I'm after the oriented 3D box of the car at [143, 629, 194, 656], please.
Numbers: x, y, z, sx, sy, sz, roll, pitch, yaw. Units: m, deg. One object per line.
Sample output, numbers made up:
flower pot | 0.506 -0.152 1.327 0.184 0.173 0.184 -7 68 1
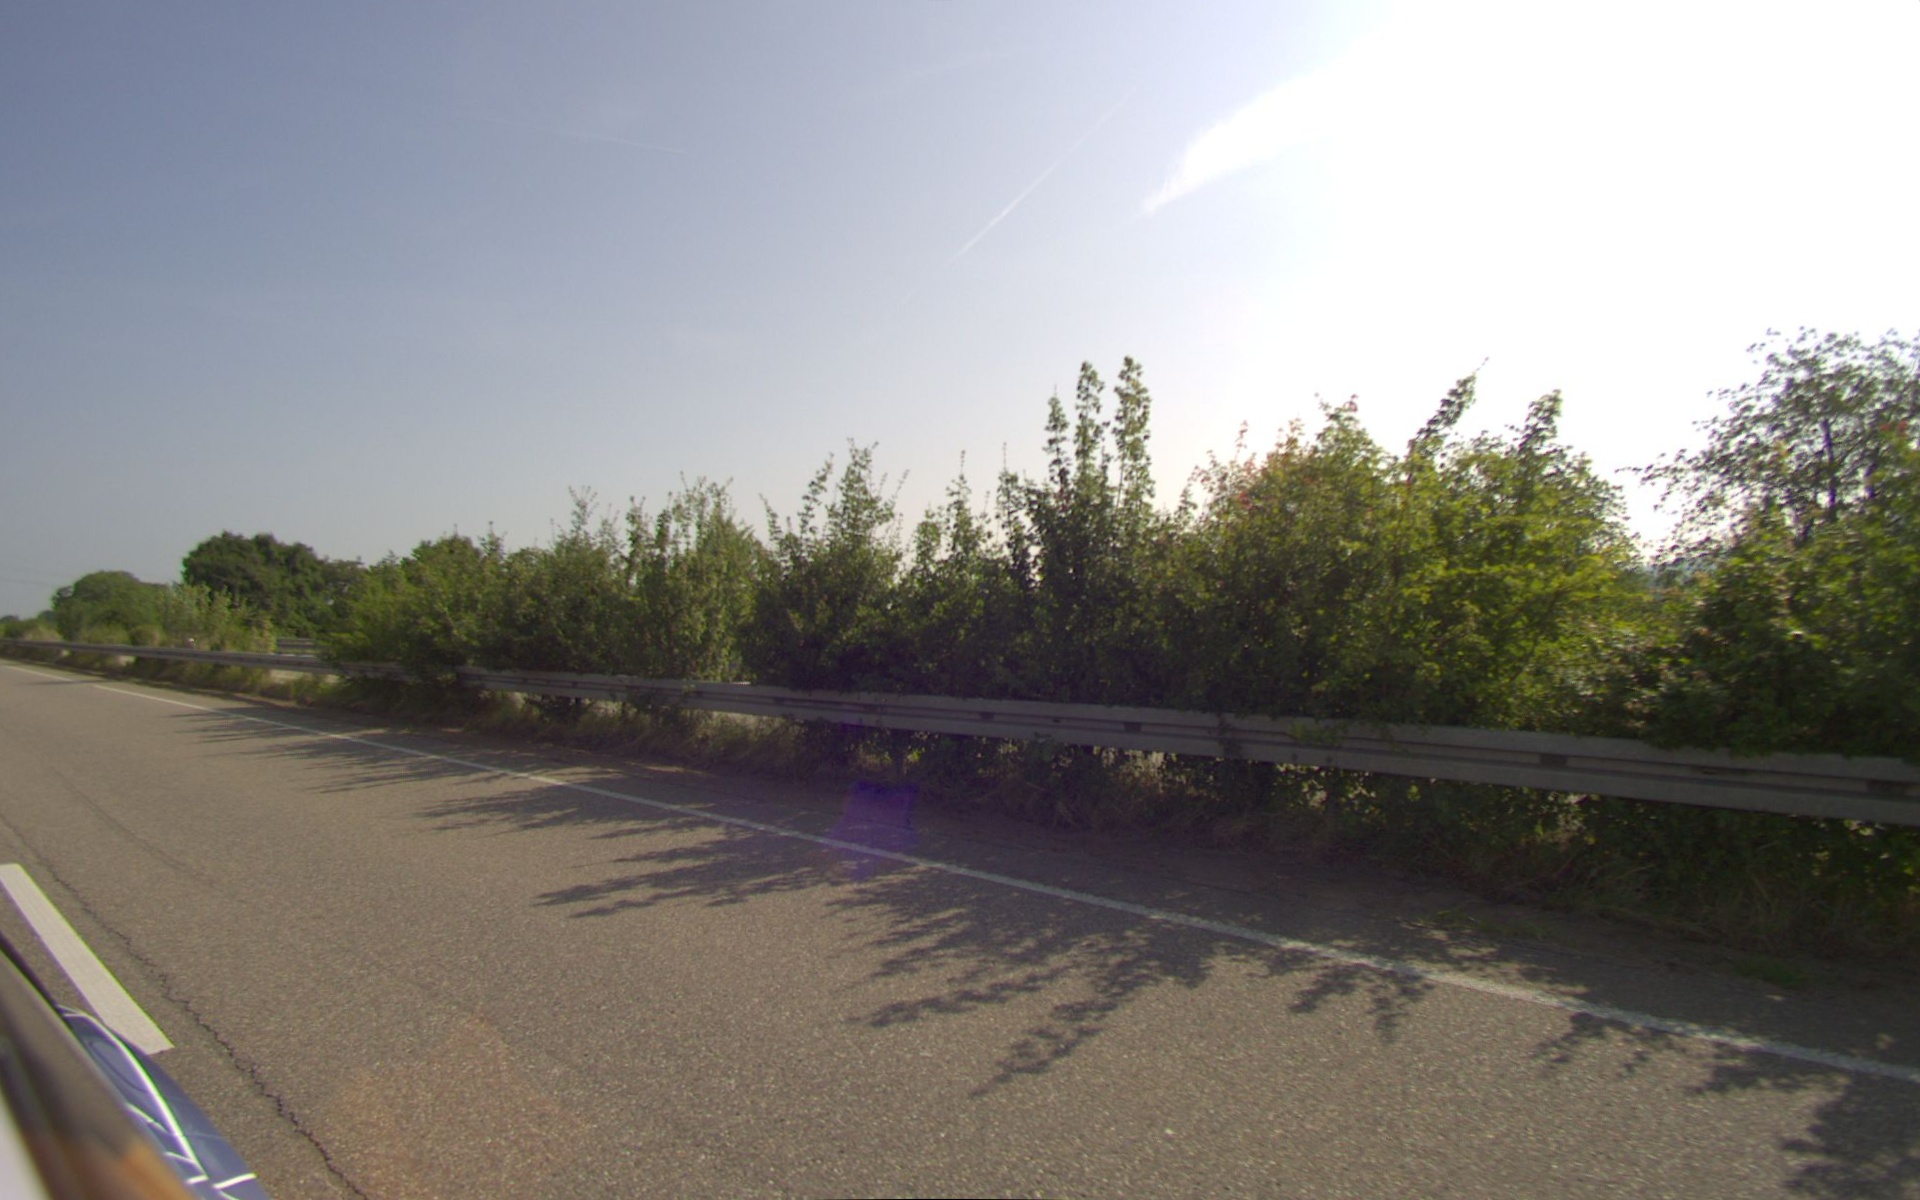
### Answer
car | -47.474 2.538 60.665 4.186 1.538 1.675 -1 -1 41
